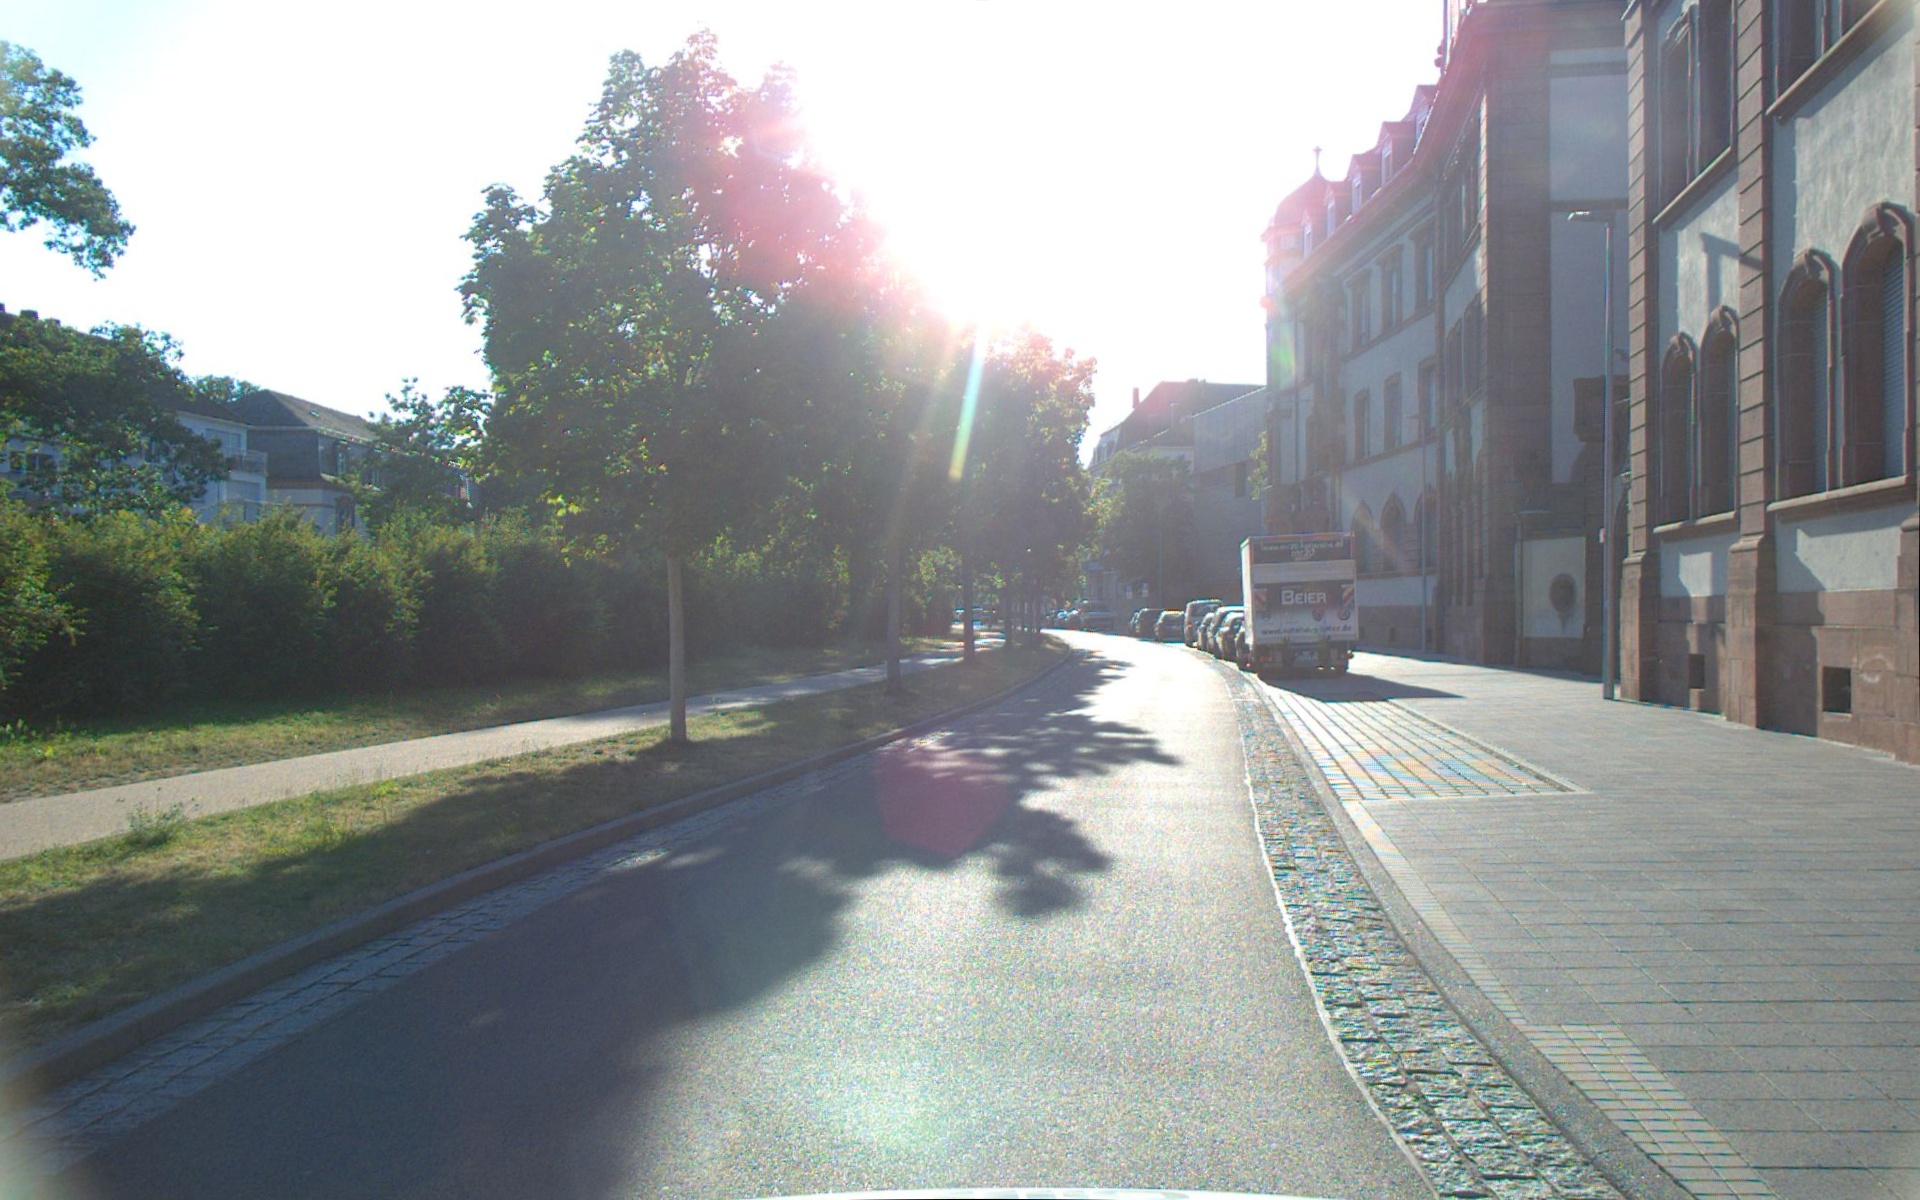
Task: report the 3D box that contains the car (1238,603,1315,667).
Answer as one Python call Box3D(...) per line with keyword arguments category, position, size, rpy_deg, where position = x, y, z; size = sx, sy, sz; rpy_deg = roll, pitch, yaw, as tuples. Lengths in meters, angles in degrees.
Box3D(category="car", position=(8.395, 0.907, 44.183), size=(1.731, 1.557, 4.576), rpy_deg=(-2, -1, 8))

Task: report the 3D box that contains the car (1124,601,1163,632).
Box3D(category="car", position=(10.712, 0.962, 96.876), size=(1.689, 1.698, 4.113), rpy_deg=(-2, 0, -1))

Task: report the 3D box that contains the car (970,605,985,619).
Box3D(category="car", position=(2.289, 1.528, 215.044), size=(1.758, 1.755, 3.997), rpy_deg=(0, 0, -3))

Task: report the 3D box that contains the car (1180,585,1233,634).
Box3D(category="car", position=(11.055, 0.429, 74.503), size=(1.952, 2.000, 4.852), rpy_deg=(-4, -1, 5))

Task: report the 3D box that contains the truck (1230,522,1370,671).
Box3D(category="truck", position=(7.794, -0.100, 38.546), size=(2.568, 3.175, 6.092), rpy_deg=(-1, 1, 6))

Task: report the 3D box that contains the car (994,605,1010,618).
Box3D(category="car", position=(5.064, 1.397, 200.902), size=(1.757, 1.536, 3.999), rpy_deg=(0, 0, -1))

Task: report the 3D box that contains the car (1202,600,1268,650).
Box3D(category="car", position=(9.717, 0.873, 58.646), size=(1.778, 1.630, 4.194), rpy_deg=(-2, 0, 3))

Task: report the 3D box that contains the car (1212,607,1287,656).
Box3D(category="car", position=(9.248, 0.985, 53.176), size=(1.832, 1.461, 4.524), rpy_deg=(-2, 0, 3))

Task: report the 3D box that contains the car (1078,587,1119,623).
Box3D(category="car", position=(10.473, 0.402, 125.625), size=(2.167, 2.574, 6.143), rpy_deg=(-2, 0, -3))

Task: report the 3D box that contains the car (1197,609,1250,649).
Box3D(category="car", position=(10.200, 1.113, 64.189), size=(1.643, 1.427, 4.202), rpy_deg=(-2, 0, 4))

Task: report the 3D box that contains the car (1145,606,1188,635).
Box3D(category="car", position=(10.753, 1.041, 86.401), size=(1.712, 1.492, 4.477), rpy_deg=(0, 0, 0))

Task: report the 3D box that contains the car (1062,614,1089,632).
Box3D(category="car", position=(9.549, 1.879, 137.015), size=(1.658, 1.466, 3.547), rpy_deg=(-1, 0, -5))
